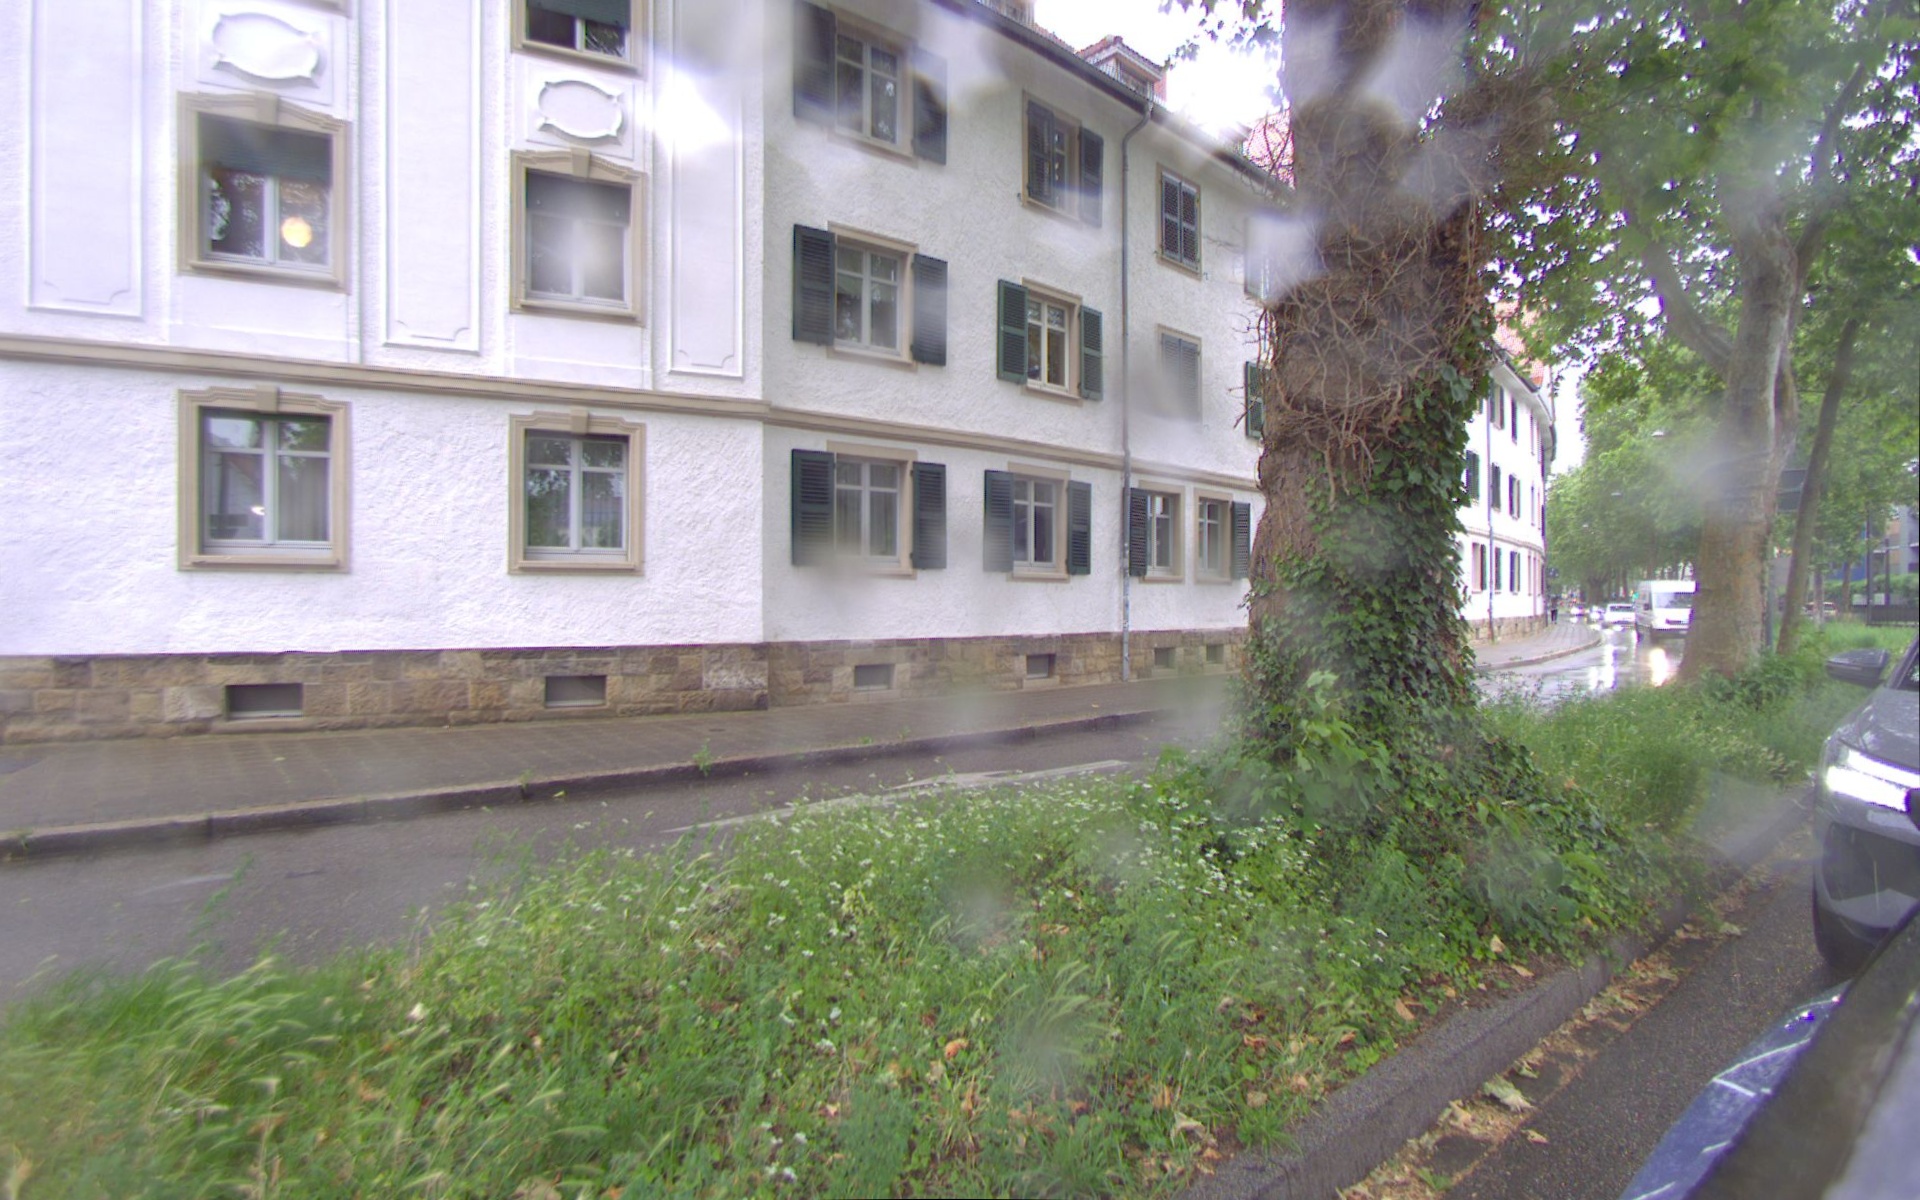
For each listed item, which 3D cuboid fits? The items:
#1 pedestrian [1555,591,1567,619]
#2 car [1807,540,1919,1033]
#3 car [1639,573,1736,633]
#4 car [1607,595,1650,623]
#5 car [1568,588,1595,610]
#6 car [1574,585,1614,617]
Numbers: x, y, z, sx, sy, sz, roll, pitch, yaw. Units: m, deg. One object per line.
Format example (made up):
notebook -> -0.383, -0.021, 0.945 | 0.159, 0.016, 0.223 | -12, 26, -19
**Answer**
pedestrian -> 39.919, 0.305, 67.221 | 0.668, 1.845, 0.672 | 0, 0, 31
car -> 5.143, 0.618, 4.314 | 4.039, 1.662, 1.913 | 0, 0, -44
car -> 29.590, 0.118, 41.353 | 2.173, 2.292, 5.366 | 0, 0, 24
car -> 39.547, 0.508, 59.935 | 1.816, 1.545, 3.959 | 0, 0, 29
car -> 62.660, -0.091, 102.082 | 1.983, 2.038, 3.961 | 5, 3, 28
car -> 45.773, 0.041, 73.140 | 1.983, 2.038, 3.961 | 5, 3, 28
